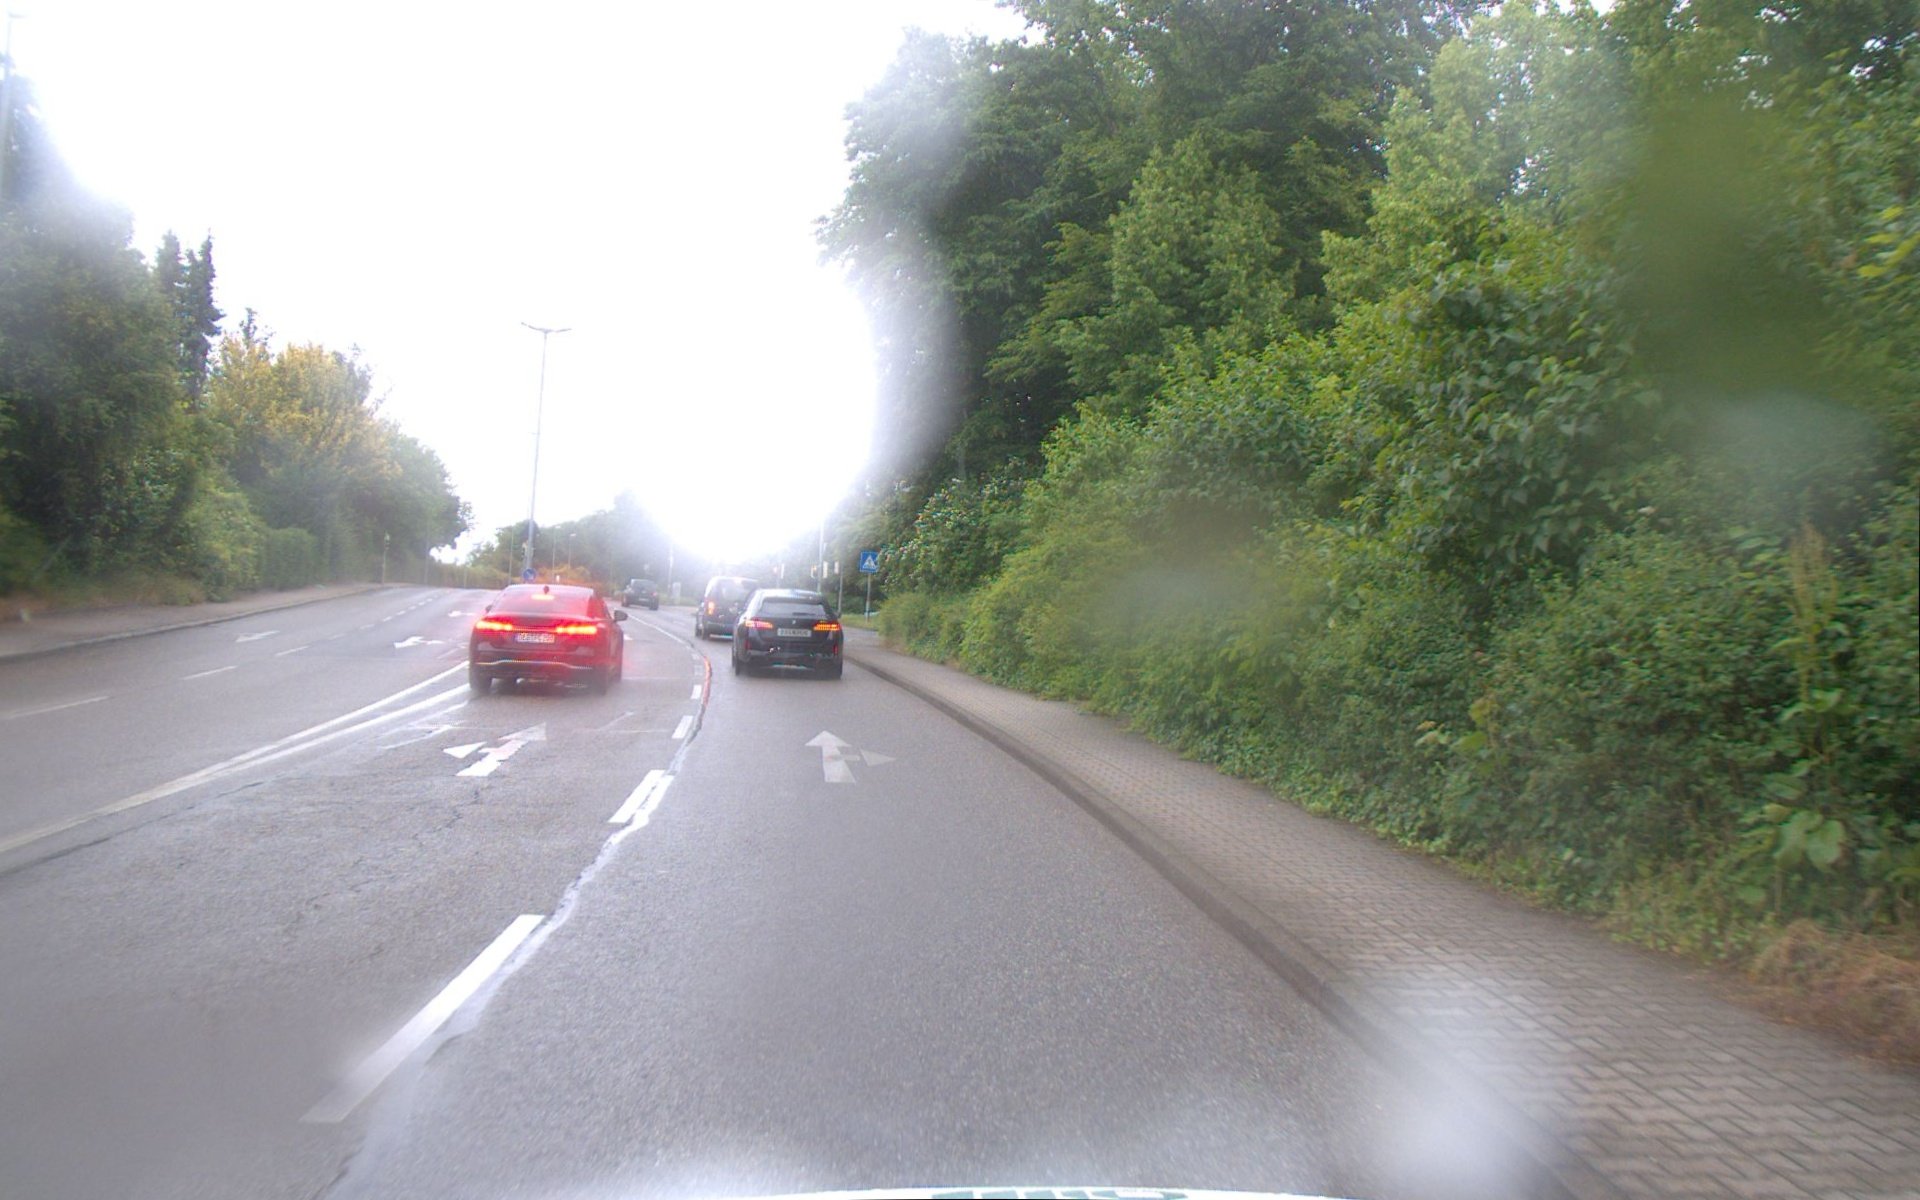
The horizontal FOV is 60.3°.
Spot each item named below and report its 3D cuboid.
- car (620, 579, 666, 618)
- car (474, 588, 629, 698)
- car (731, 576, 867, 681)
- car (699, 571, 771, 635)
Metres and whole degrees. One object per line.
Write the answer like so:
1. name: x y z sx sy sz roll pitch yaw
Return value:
1. car: -16.252 -0.047 84.735 1.822 1.691 3.980 3 -4 -17
2. car: -5.783 0.548 23.911 1.871 1.422 4.845 1 0 -10
3. car: -3.005 0.456 29.985 1.958 1.613 4.651 3 1 -11
4. car: -6.701 0.112 48.878 1.957 1.779 3.991 1 -1 -10
